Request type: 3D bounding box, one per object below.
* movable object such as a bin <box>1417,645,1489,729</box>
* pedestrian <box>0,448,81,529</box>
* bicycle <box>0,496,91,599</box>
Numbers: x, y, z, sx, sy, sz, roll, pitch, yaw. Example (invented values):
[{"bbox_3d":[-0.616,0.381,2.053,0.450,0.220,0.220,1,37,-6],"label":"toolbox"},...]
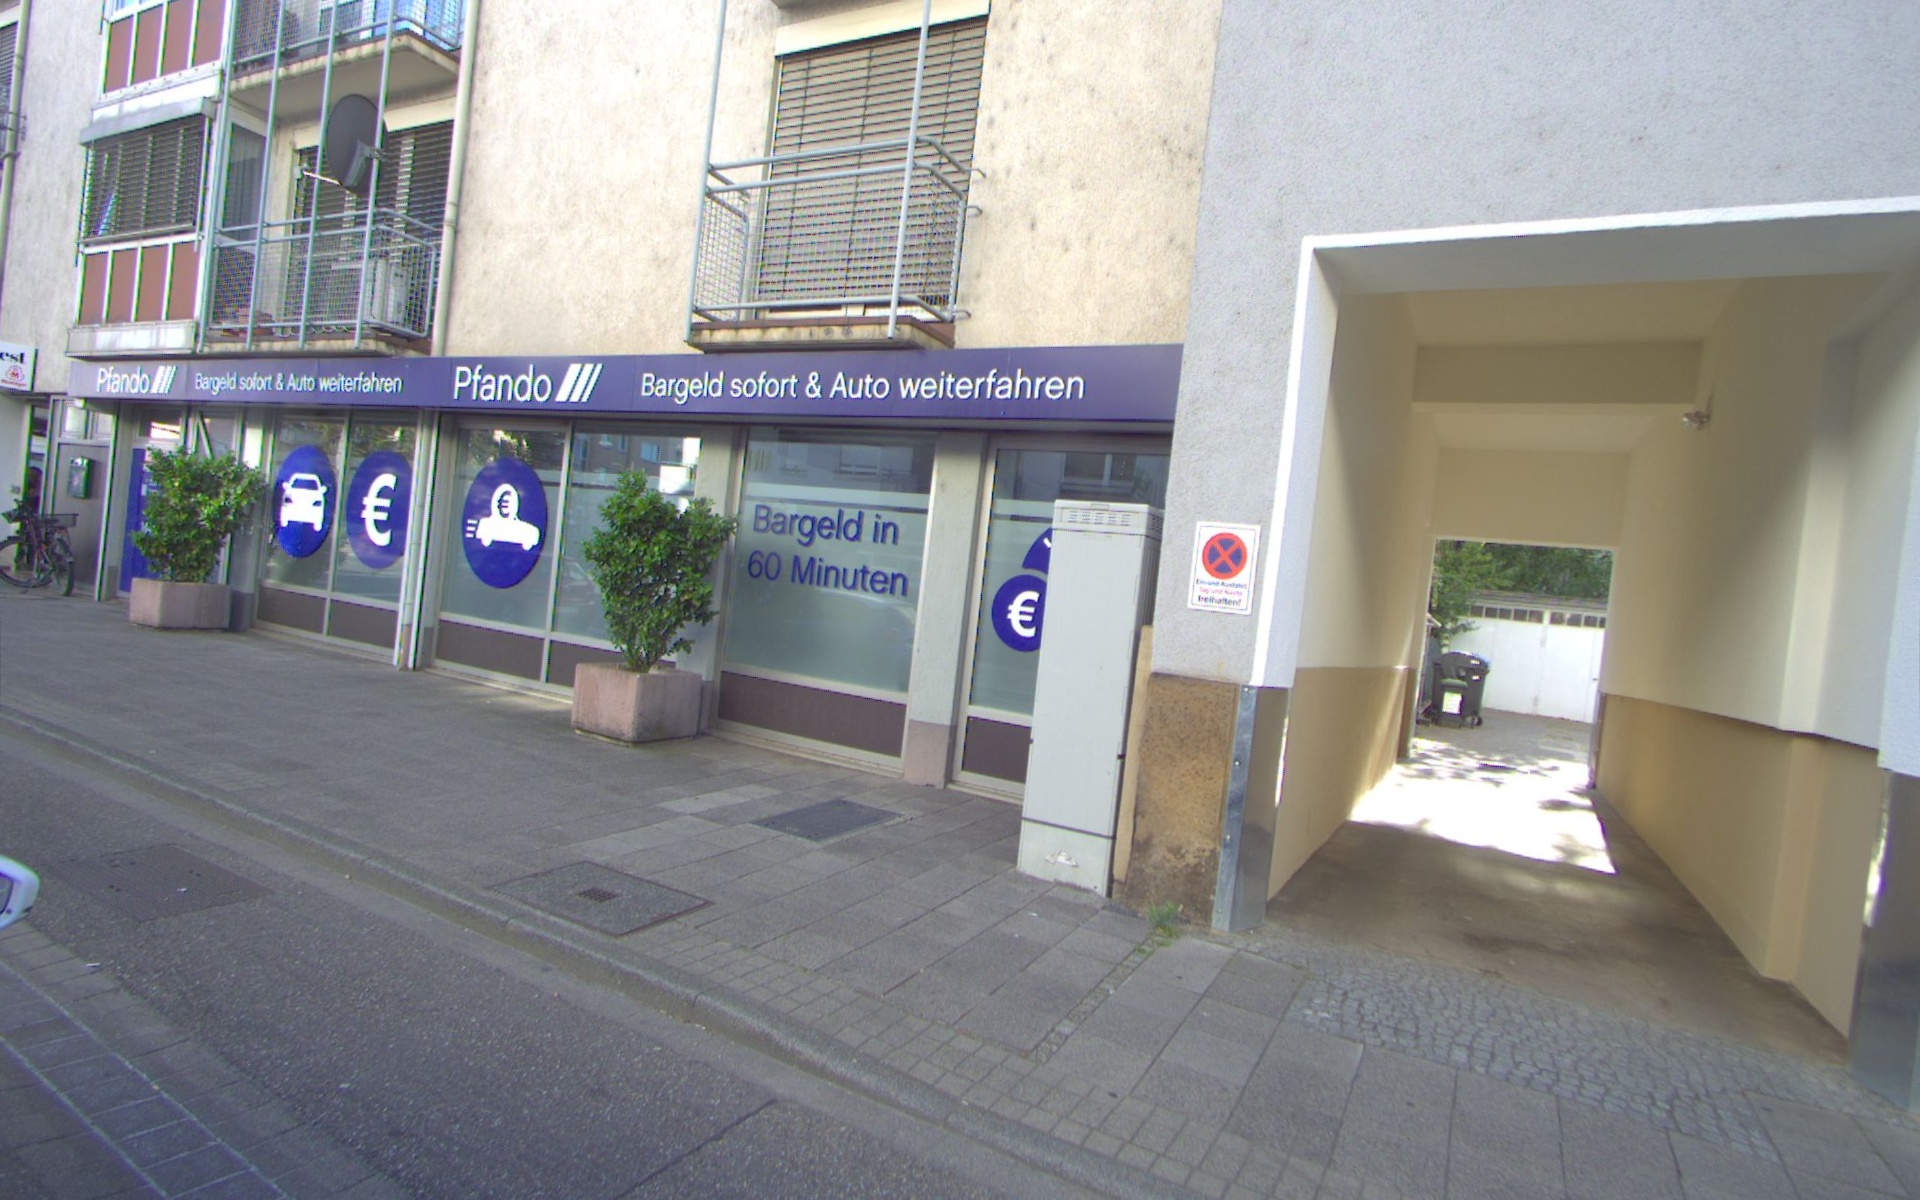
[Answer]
[{"bbox_3d":[10.020,1.768,20.419,1.092,1.511,1.329,6,-2,30],"label":"movable object such as a bin"},{"bbox_3d":[-14.180,-1.703,15.482,0.667,1.102,0.624,7,2,-5],"label":"pedestrian"},{"bbox_3d":[-11.877,-0.698,12.872,1.747,1.176,0.497,6,0,29],"label":"bicycle"}]
